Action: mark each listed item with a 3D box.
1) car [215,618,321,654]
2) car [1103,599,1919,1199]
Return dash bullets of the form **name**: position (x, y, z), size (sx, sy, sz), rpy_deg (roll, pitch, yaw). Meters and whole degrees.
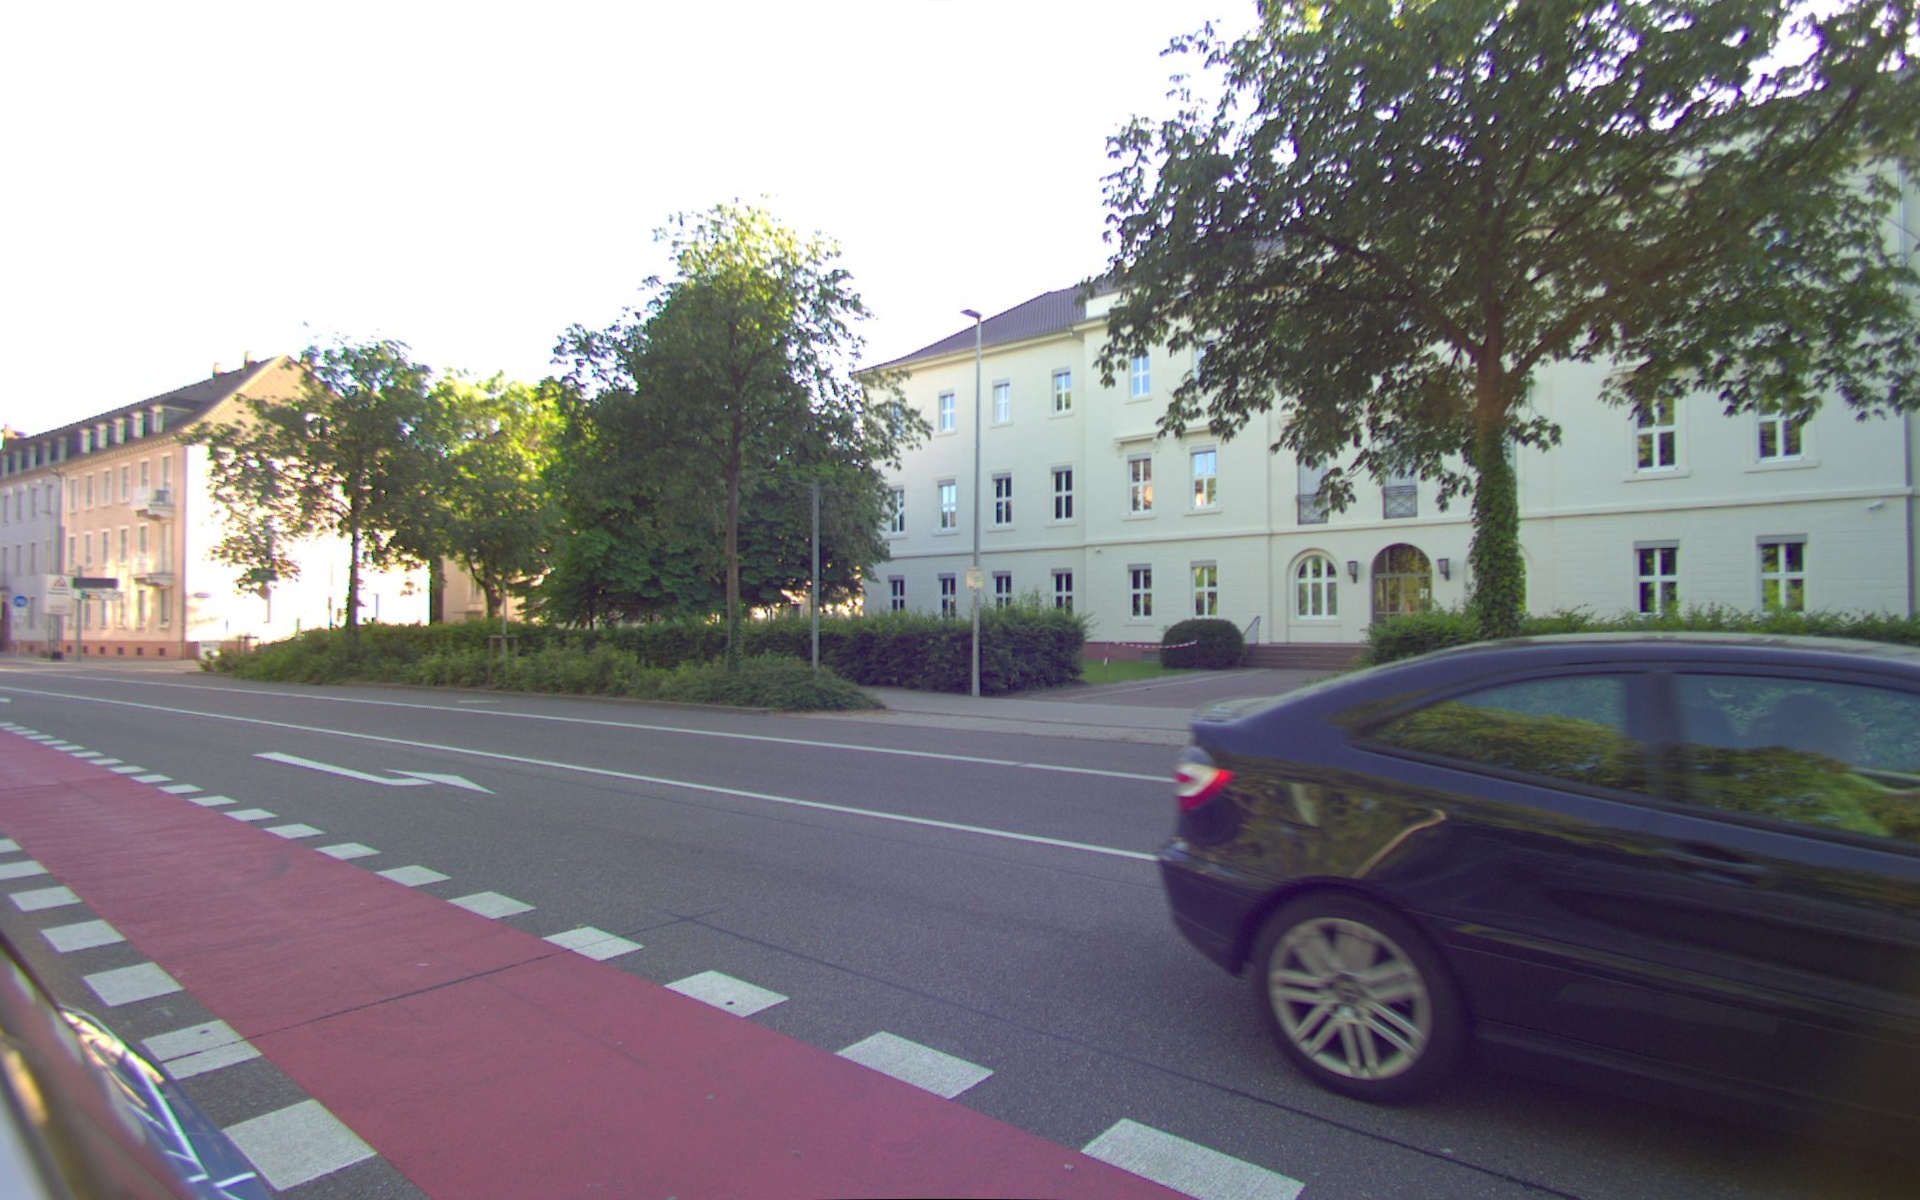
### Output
- **car**: position (-34.622, 1.747, 50.731), size (1.993, 1.674, 3.958), rpy_deg (-1, -1, 31)
- **car**: position (2.664, 0.731, 2.828), size (4.261, 1.416, 1.687), rpy_deg (-2, -3, 40)
